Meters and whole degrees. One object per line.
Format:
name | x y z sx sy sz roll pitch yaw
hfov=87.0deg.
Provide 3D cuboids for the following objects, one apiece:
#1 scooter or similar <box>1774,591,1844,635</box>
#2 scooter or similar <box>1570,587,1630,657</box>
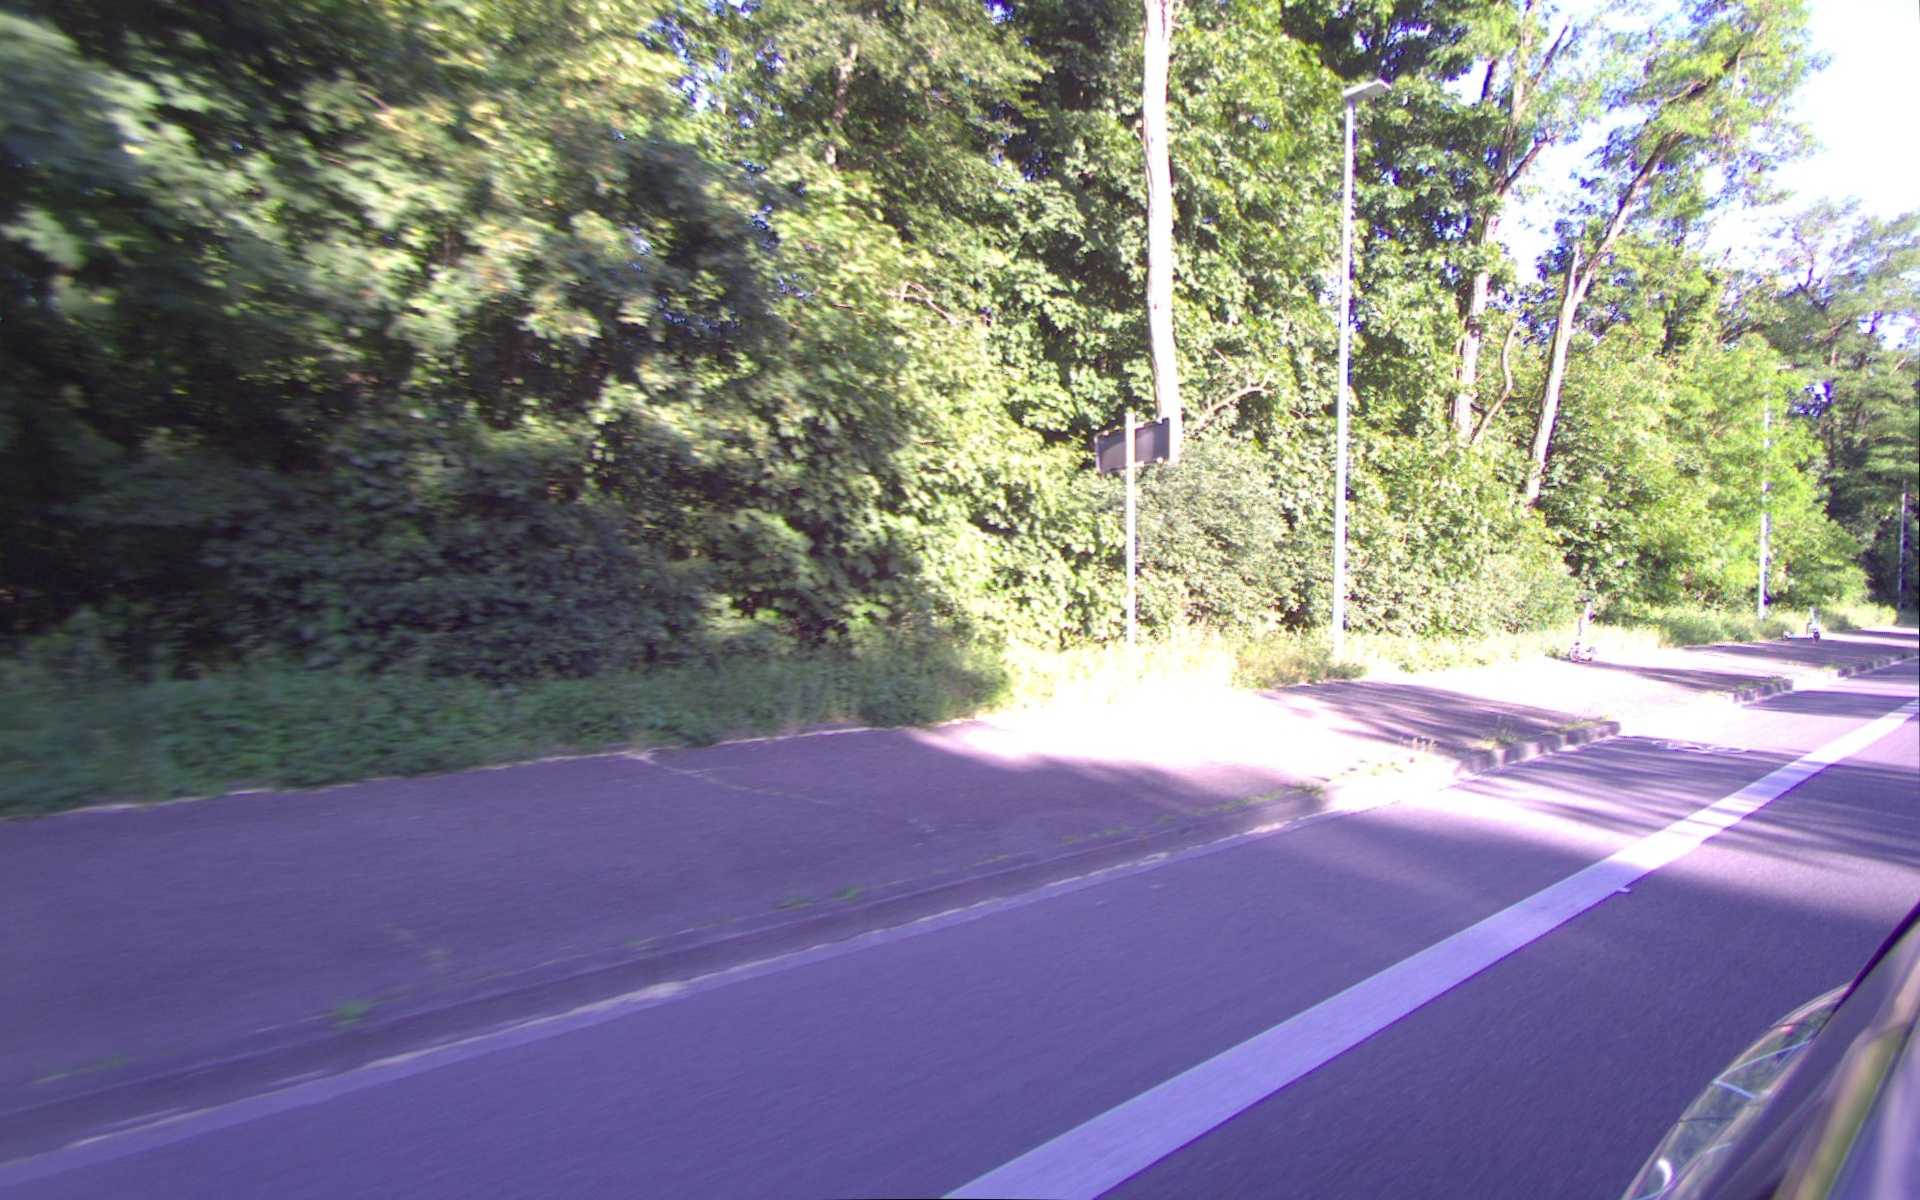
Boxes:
scooter or similar | 25.654 0.377 30.595 1.515 1.265 0.534 2 1 7
scooter or similar | 12.225 0.398 19.317 1.514 1.265 0.534 0 2 -41
